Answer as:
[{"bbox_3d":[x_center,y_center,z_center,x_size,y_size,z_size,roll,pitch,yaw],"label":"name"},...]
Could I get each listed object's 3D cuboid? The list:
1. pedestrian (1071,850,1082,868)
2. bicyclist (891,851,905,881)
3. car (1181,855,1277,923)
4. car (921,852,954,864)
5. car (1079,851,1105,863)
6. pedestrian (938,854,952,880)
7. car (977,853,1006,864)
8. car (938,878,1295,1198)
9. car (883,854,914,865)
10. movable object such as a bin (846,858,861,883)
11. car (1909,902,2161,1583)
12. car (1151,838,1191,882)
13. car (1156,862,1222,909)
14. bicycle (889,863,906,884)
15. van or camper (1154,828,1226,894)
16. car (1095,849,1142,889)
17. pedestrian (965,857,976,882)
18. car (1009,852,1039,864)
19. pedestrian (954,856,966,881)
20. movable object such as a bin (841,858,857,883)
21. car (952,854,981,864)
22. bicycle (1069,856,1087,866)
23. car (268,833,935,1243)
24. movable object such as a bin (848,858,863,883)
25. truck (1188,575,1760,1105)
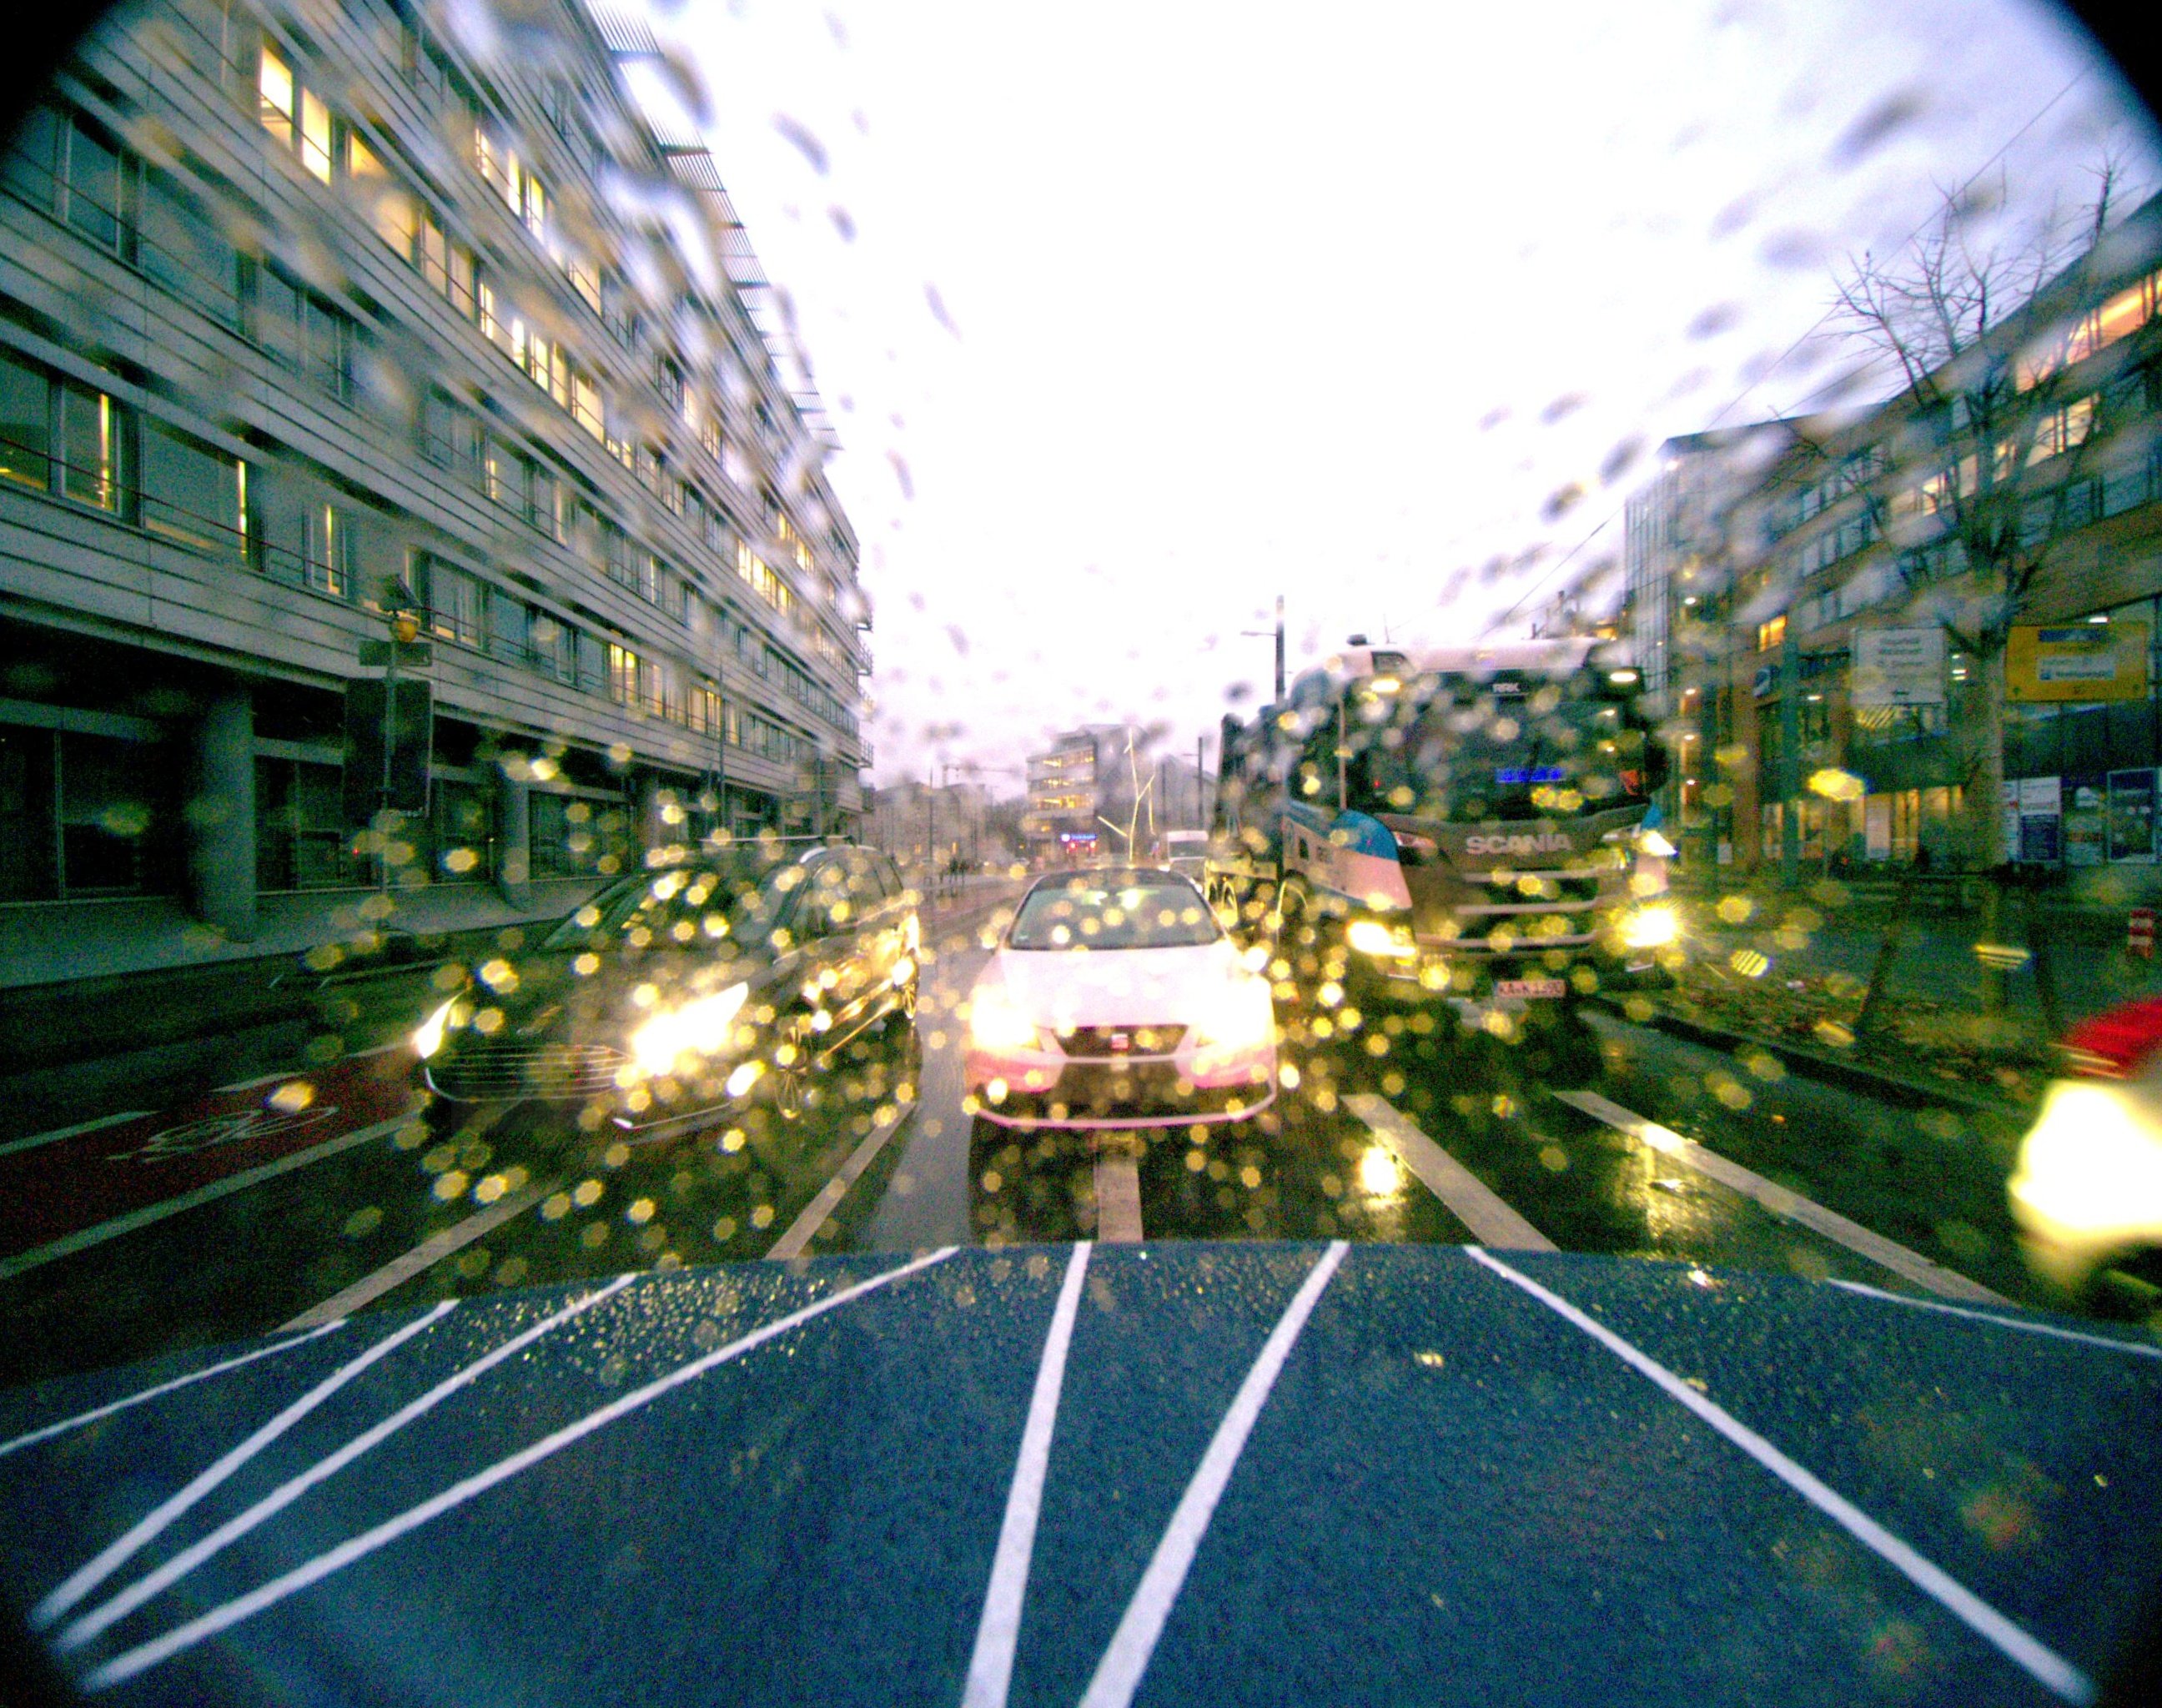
[{"bbox_3d":[-0.542,0.588,90.026,1.118,2.002,1.034,0,1,15],"label":"pedestrian"},{"bbox_3d":[-11.047,0.691,45.856,0.671,1.788,0.806,0,1,-3],"label":"bicyclist"},{"bbox_3d":[3.583,0.799,19.047,1.634,1.514,3.942,0,-1,0],"label":"car"},{"bbox_3d":[-21.424,0.571,113.719,4.368,1.750,2.002,-1,1,17],"label":"car"},{"bbox_3d":[1.817,0.456,121.665,3.724,1.796,1.797,-1,0,21],"label":"car"},{"bbox_3d":[-9.175,0.872,51.140,0.747,1.692,0.969,2,1,-3],"label":"pedestrian"},{"bbox_3d":[-13.040,0.605,110.694,3.759,1.528,1.782,0,0,17],"label":"car"},{"bbox_3d":[0.206,0.991,5.798,1.782,1.464,3.943,-1,0,1],"label":"car"},{"bbox_3d":[-27.861,0.870,116.081,3.996,1.663,2.002,-1,0,17],"label":"car"},{"bbox_3d":[-13.263,0.947,44.291,0.666,1.420,0.840,-1,1,-2],"label":"movable object such as a bin"},{"bbox_3d":[3.134,0.860,0.136,1.709,1.439,4.000,-1,0,2],"label":"car"},{"bbox_3d":[6.144,0.391,52.612,2.129,2.847,5.813,-1,0,1],"label":"car"},{"bbox_3d":[3.426,0.963,24.674,1.759,1.337,4.057,-1,0,3],"label":"car"},{"bbox_3d":[-11.038,1.142,45.763,0.681,1.191,1.760,-3,1,-3],"label":"bicycle"},{"bbox_3d":[4.511,0.246,32.266,2.153,2.517,5.898,-1,0,0],"label":"van or camper"},{"bbox_3d":[1.823,0.684,38.406,2.169,1.744,4.540,0,2,0],"label":"car"},{"bbox_3d":[-7.339,1.041,50.599,0.616,1.659,0.884,1,1,-3],"label":"pedestrian"},{"bbox_3d":[-8.155,0.579,109.502,3.918,1.699,1.782,-1,1,15],"label":"car"},{"bbox_3d":[-8.044,0.957,50.576,0.651,1.692,0.884,1,1,-3],"label":"pedestrian"},{"bbox_3d":[-13.267,0.933,43.394,0.666,1.420,0.840,-1,1,-2],"label":"movable object such as a bin"},{"bbox_3d":[-16.945,0.757,112.235,3.759,1.528,1.782,0,0,17],"label":"car"},{"bbox_3d":[-0.421,0.859,94.633,2.204,1.182,0.668,0,1,2],"label":"bicycle"},{"bbox_3d":[-2.618,0.831,5.754,1.887,1.800,4.671,-2,0,2],"label":"car"},{"bbox_3d":[-13.427,0.951,45.221,0.666,1.468,0.840,-1,1,-2],"label":"movable object such as a bin"},{"bbox_3d":[3.234,-0.107,8.982,2.846,3.612,7.526,-1,0,0],"label":"truck"}]
